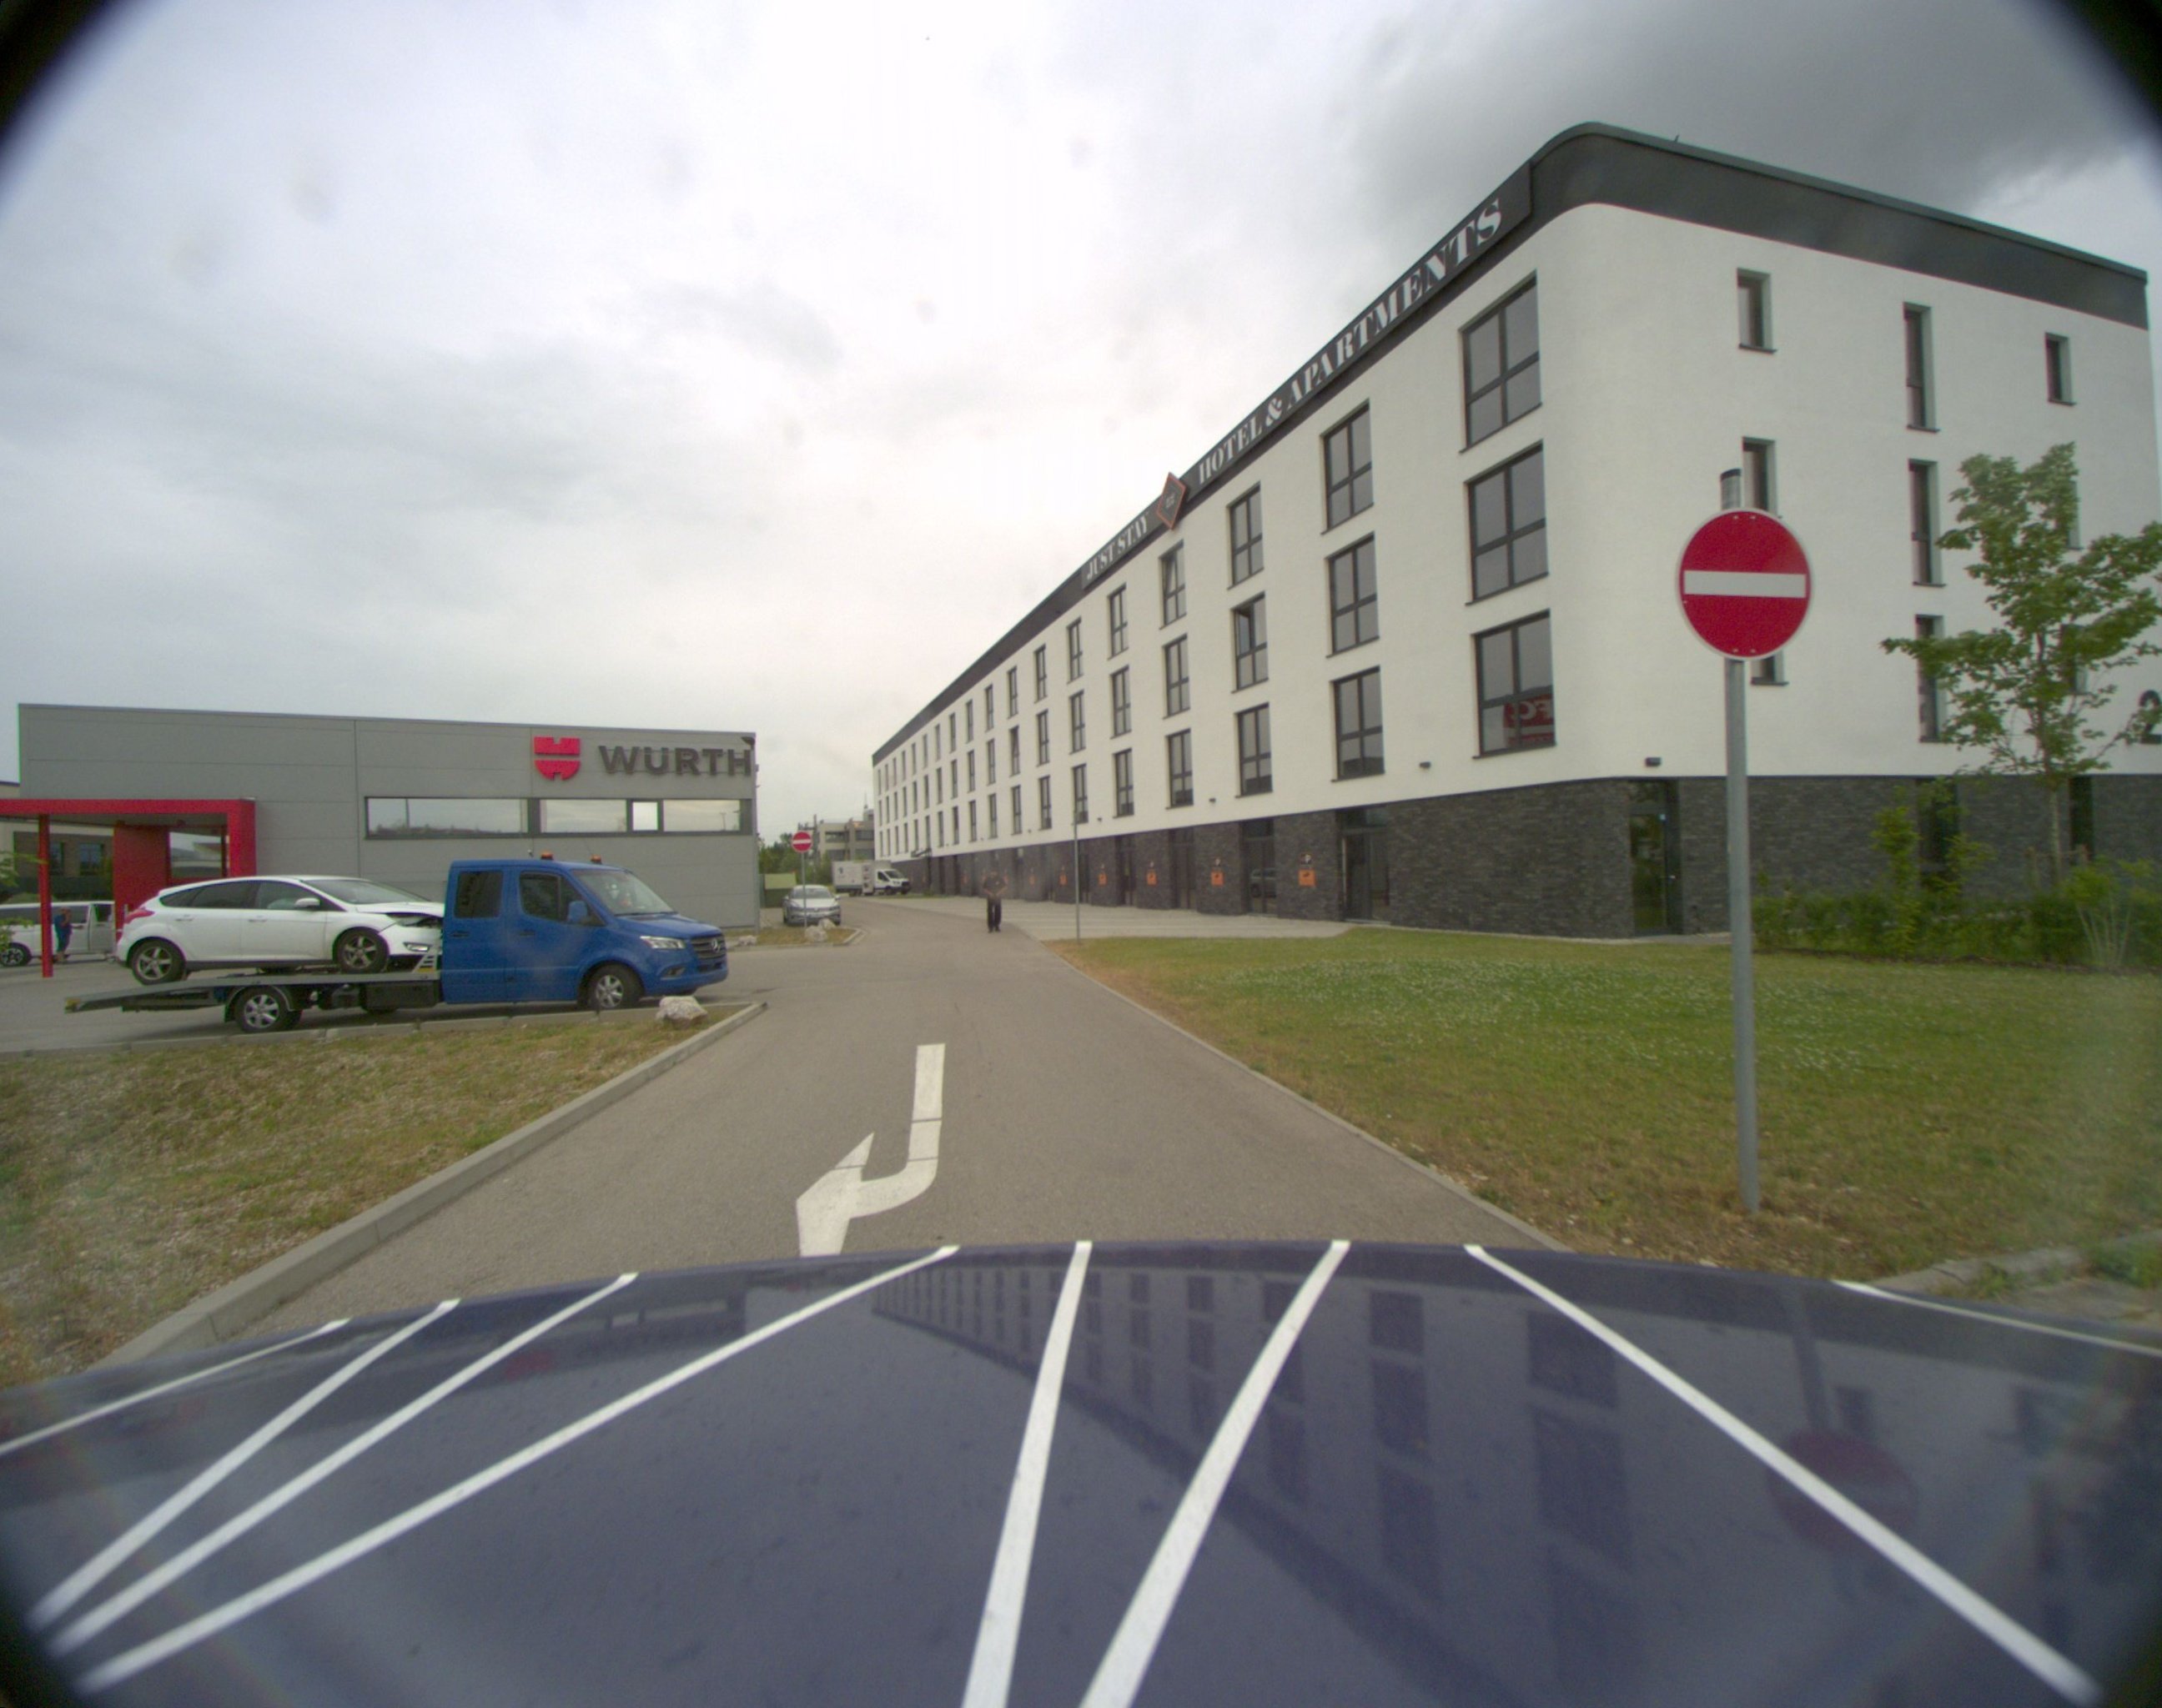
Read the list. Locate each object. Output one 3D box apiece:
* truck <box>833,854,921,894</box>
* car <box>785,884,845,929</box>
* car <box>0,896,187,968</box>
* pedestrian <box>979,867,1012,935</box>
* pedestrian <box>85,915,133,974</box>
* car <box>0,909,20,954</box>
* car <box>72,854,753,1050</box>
[{"bbox_3d":[-16.823,1.671,62.525,7.052,2.999,2.441,-2,0,27],"label":"truck"},{"bbox_3d":[-10.045,1.914,28.970,1.982,1.482,4.764,0,-1,-17],"label":"car"},{"bbox_3d":[-32.447,2.505,24.867,3.679,1.968,1.673,-2,0,-23],"label":"car"},{"bbox_3d":[-2.384,1.294,21.136,0.710,1.811,0.812,-2,0,-18],"label":"pedestrian"},{"bbox_3d":[-30.840,2.854,24.116,0.659,1.797,0.648,-2,0,-22],"label":"pedestrian"},{"bbox_3d":[-46.831,3.285,30.767,4.004,1.849,1.997,-2,0,-22],"label":"car"},{"bbox_3d":[-9.281,1.303,11.176,7.852,2.309,2.201,-2,0,-2],"label":"car"}]
